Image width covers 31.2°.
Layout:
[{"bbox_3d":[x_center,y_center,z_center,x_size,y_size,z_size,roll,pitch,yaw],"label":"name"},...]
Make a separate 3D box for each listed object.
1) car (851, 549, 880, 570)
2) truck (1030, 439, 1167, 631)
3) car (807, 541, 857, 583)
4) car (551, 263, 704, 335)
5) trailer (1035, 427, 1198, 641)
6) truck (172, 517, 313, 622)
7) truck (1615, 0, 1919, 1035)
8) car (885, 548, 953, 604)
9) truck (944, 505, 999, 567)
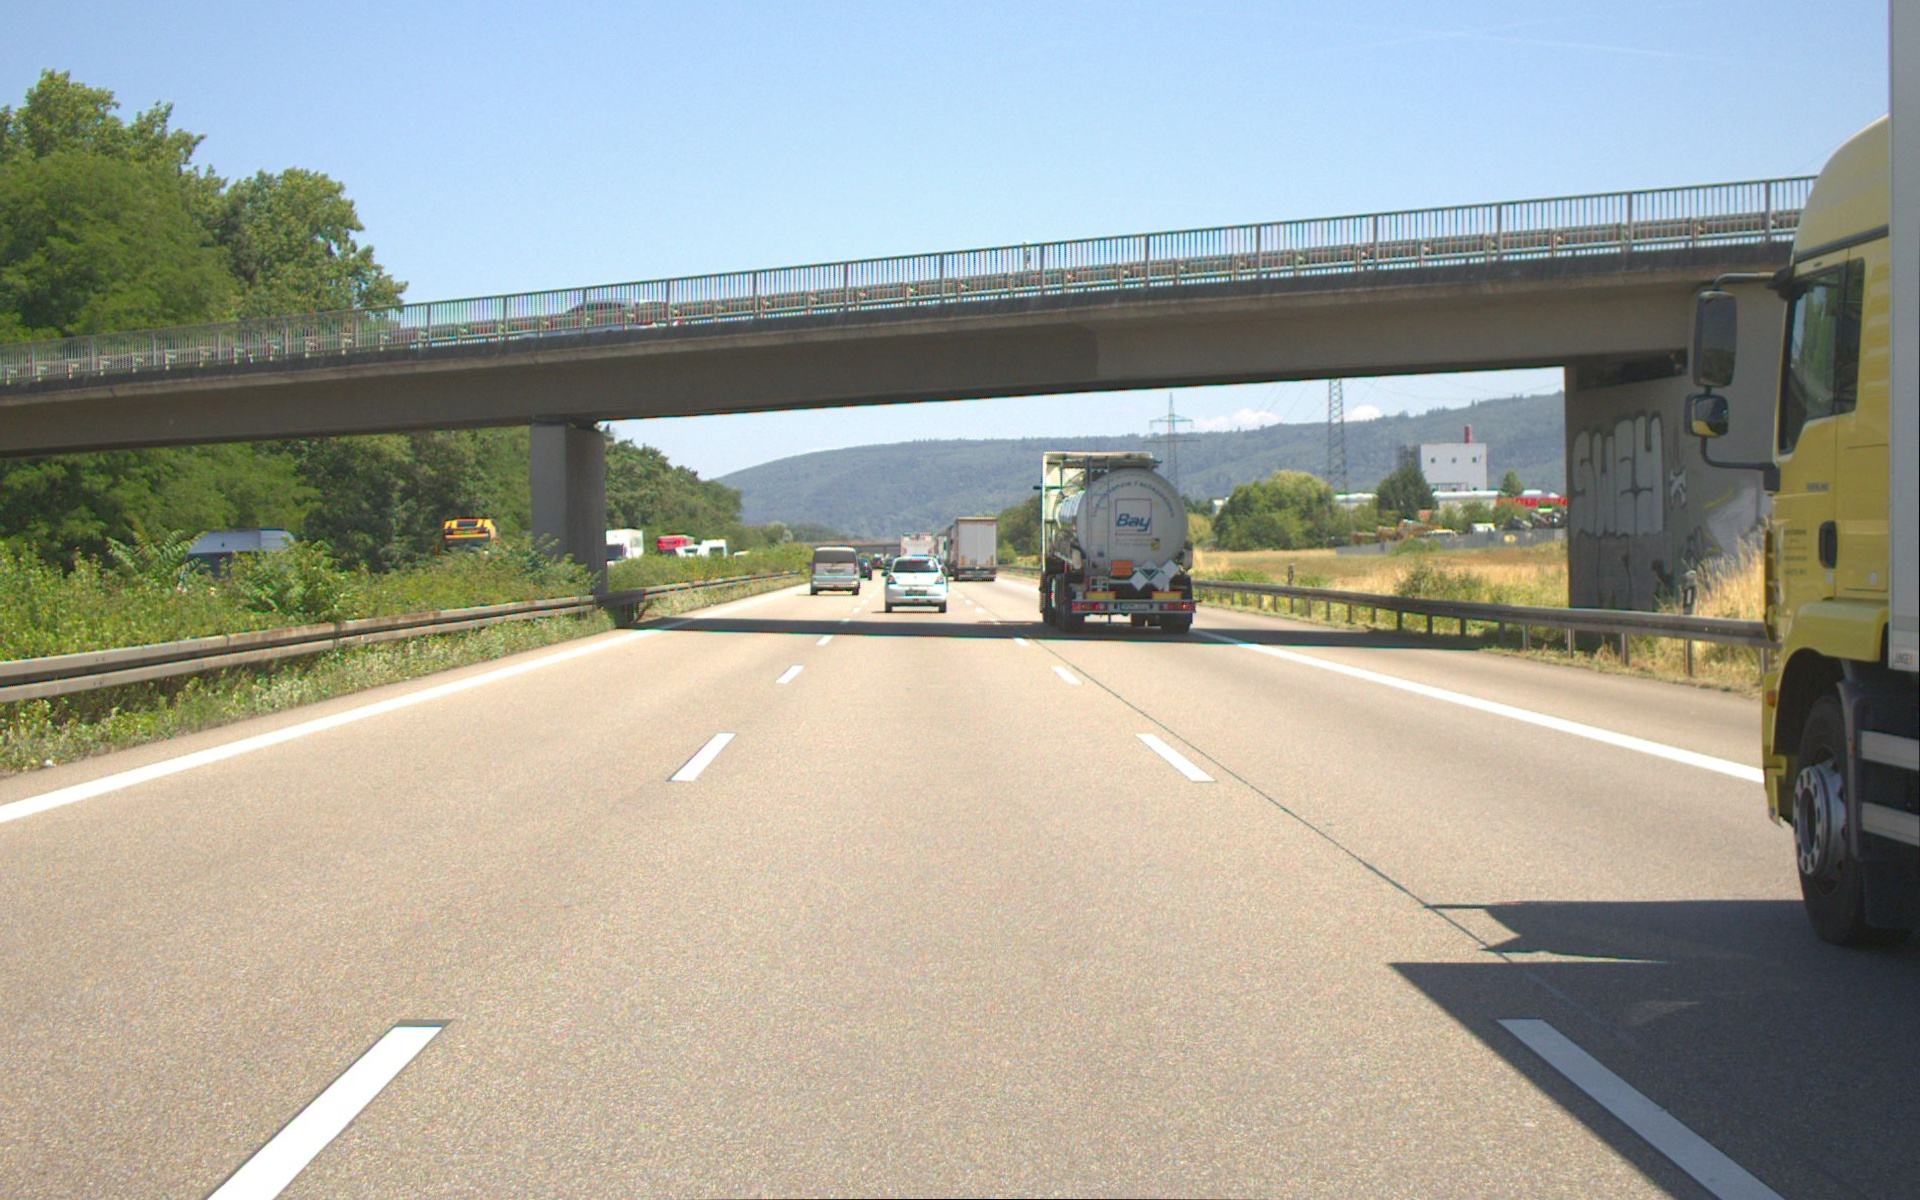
[{"bbox_3d":[-6.248,-2.705,228.325,1.835,1.382,4.000,1,1,-1],"label":"car"},{"bbox_3d":[3.025,-1.440,76.663,2.573,4.058,6.393,1,1,-1],"label":"truck"},{"bbox_3d":[-5.033,-1.509,135.777,1.852,1.627,4.000,1,1,-1],"label":"car"},{"bbox_3d":[-7.945,-7.151,81.906,1.634,1.463,3.999,0,1,-40],"label":"car"},{"bbox_3d":[3.133,-1.355,71.620,2.580,4.060,11.104,1,1,-1],"label":"trailer"},{"bbox_3d":[-17.187,-0.746,82.652,1.993,2.390,6.420,1,1,0],"label":"truck"},{"bbox_3d":[4.520,-0.691,10.005,2.933,4.185,10.682,1,1,-1],"label":"truck"},{"bbox_3d":[-1.123,-0.679,94.147,1.806,1.463,4.000,1,1,-1],"label":"car"},{"bbox_3d":[0.699,-4.140,222.065,3.265,3.844,11.632,1,1,-1],"label":"truck"}]
